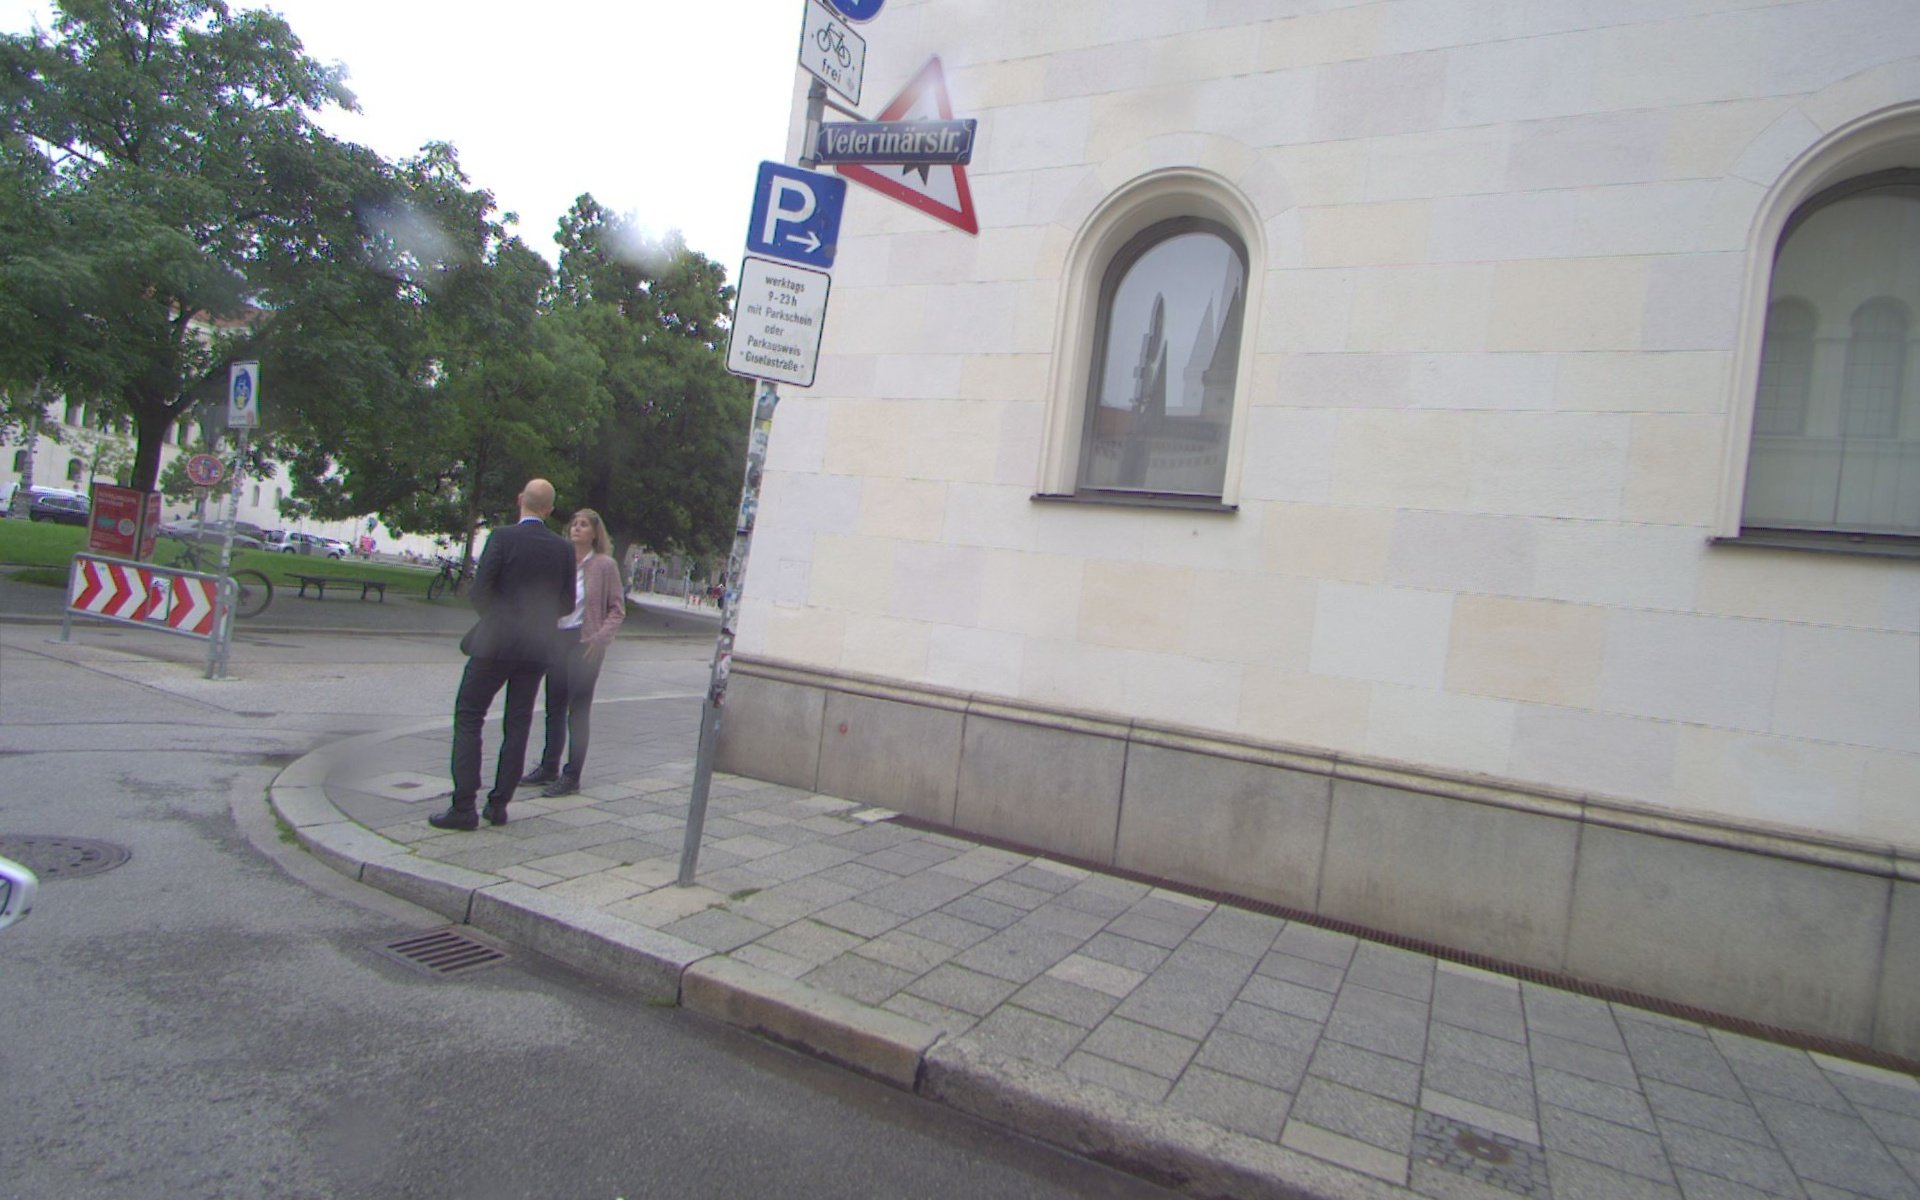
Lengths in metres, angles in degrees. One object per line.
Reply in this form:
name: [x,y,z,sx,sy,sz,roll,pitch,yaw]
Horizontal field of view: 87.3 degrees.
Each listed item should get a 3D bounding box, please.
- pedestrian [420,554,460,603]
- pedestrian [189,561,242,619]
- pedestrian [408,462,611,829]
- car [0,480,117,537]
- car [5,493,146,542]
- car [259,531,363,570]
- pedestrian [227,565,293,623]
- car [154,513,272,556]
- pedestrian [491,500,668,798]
pedestrian: [-12.692,-0.517,24.555,0.608,1.078,0.531,8,-1,32]
pedestrian: [-10.861,-0.143,14.679,0.452,0.771,0.415,8,-1,32]
pedestrian: [-2.412,0.238,5.419,0.481,1.830,0.642,7,0,32]
car: [-45.354,-4.586,50.335,1.793,2.037,4.336,7,-2,30]
car: [-39.723,-3.680,45.293,1.772,1.435,4.367,8,-1,28]
car: [-35.304,-2.650,54.817,1.772,1.435,4.367,8,-1,28]
pedestrian: [-10.574,-0.085,15.192,0.557,0.771,0.570,7,-1,31]
car: [-37.415,-3.267,50.505,1.772,1.435,4.367,8,-1,28]
pedestrian: [-2.334,0.302,6.221,0.535,1.701,0.623,7,-1,21]
